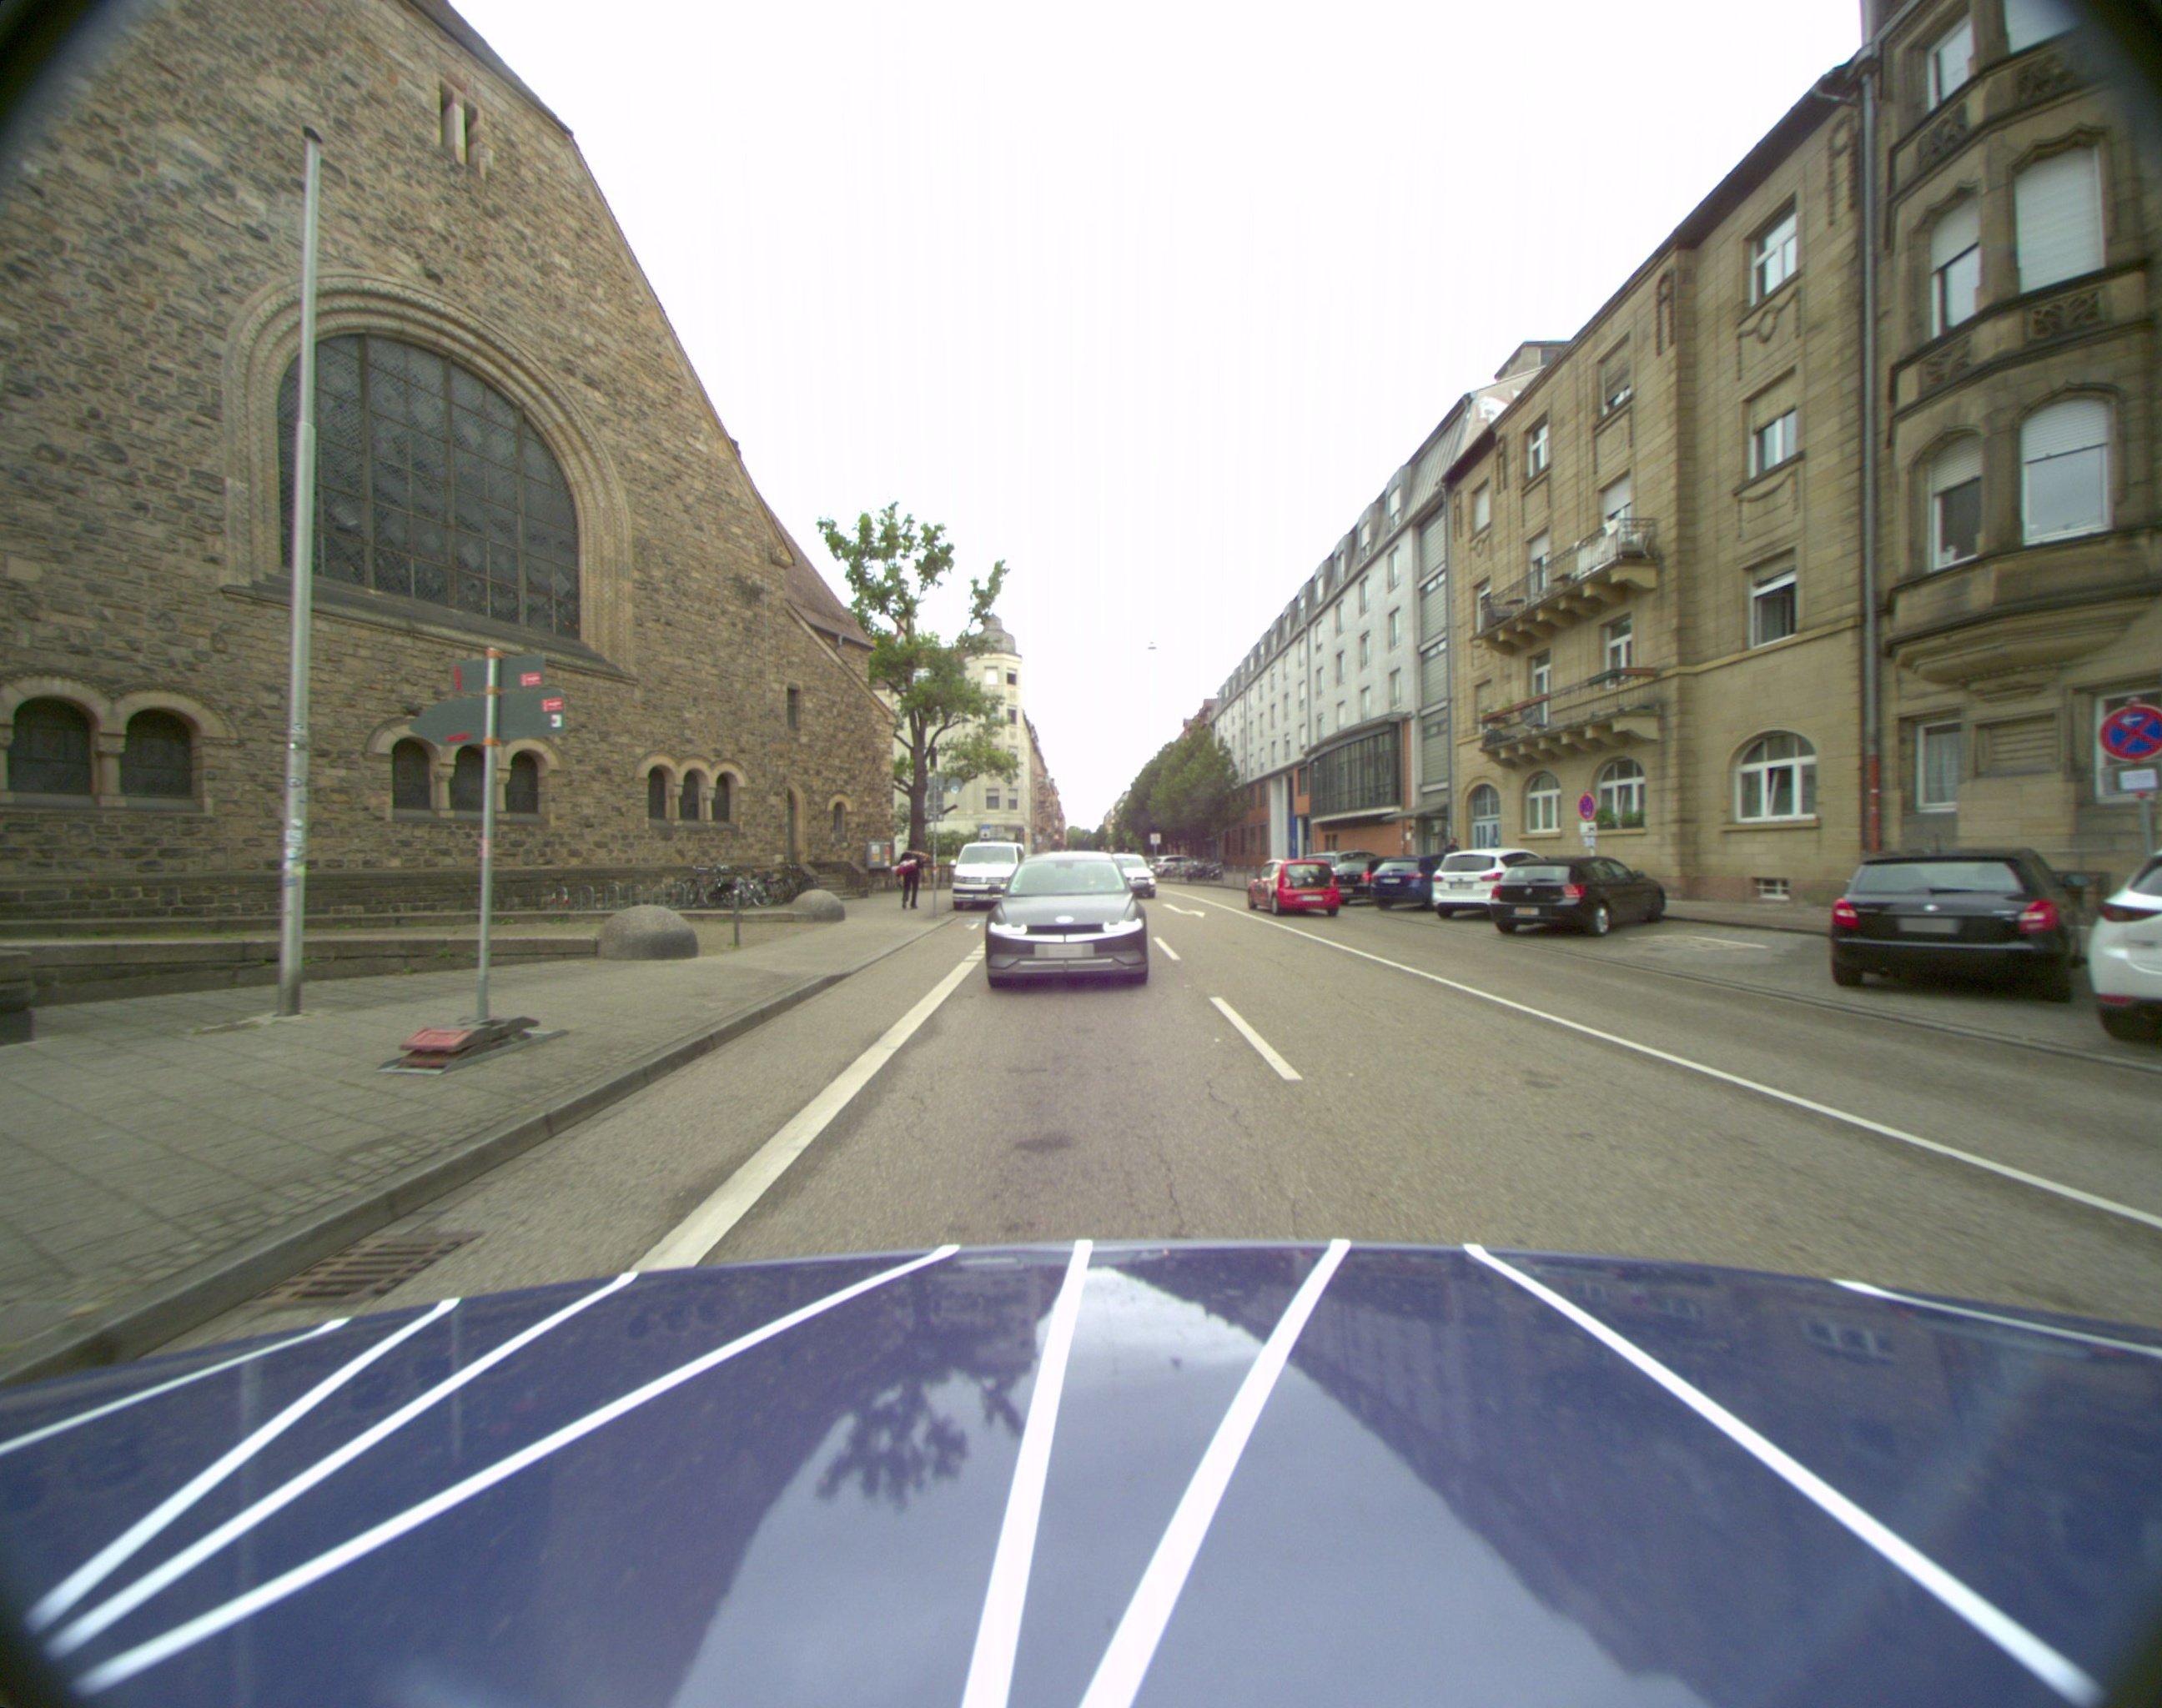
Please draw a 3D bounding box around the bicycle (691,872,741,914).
[{"bbox_3d":[-9.427,0.990,19.596,1.380,1.054,0.311,0,1,23],"label":"bicycle"}]

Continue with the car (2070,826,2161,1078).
[{"bbox_3d":[9.773,0.610,5.771,4.004,1.714,1.837,-5,2,-24],"label":"car"}]

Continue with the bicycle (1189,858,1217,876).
[{"bbox_3d":[7.671,0.840,47.742,1.630,1.067,0.416,-2,1,-1],"label":"bicycle"}]

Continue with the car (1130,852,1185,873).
[{"bbox_3d":[6.220,0.651,61.973,4.004,1.619,1.996,-1,0,-22],"label":"car"}]

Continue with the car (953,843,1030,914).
[{"bbox_3d":[-2.613,0.662,23.319,1.810,1.908,5.163,-1,0,-1],"label":"car"}]

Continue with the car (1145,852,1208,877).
[{"bbox_3d":[6.713,0.713,53.325,4.004,1.619,1.769,-1,0,-22],"label":"car"}]

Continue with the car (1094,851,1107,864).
[{"bbox_3d":[2.899,0.529,113.113,1.998,1.897,4.000,-1,0,1],"label":"car"}]

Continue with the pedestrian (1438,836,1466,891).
[{"bbox_3d":[12.457,0.327,25.540,0.621,1.812,0.642,-1,1,1],"label":"pedestrian"}]

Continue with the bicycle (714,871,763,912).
[{"bbox_3d":[-9.041,0.989,20.070,1.380,1.054,0.311,0,1,23],"label":"bicycle"}]

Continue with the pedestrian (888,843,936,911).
[{"bbox_3d":[-4.670,0.623,21.046,0.814,1.799,1.021,0,3,22],"label":"pedestrian"}]

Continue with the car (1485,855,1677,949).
[{"bbox_3d":[9.532,0.796,14.390,4.006,1.409,1.657,-3,1,-35],"label":"car"}]

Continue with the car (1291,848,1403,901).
[{"bbox_3d":[9.252,0.678,26.312,4.007,1.545,1.729,-3,1,-39],"label":"car"}]

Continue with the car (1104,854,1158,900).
[{"bbox_3d":[1.842,0.811,28.995,1.910,1.597,4.251,-1,1,2],"label":"car"}]

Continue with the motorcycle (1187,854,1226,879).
[{"bbox_3d":[7.156,0.713,43.373,2.124,1.345,0.599,-2,1,1],"label":"motorcycle"}]

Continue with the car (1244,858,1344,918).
[{"bbox_3d":[5.648,0.855,20.550,1.653,1.438,3.510,-1,0,-2],"label":"car"}]

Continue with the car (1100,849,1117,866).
[{"bbox_3d":[3.105,0.363,85.558,1.698,1.793,4.128,0,0,-2],"label":"car"}]

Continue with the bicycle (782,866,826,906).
[{"bbox_3d":[-8.093,0.913,22.196,1.340,1.140,0.311,0,1,23],"label":"bicycle"}]

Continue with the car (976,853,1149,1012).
[{"bbox_3d":[-0.169,0.833,10.053,1.820,1.675,4.000,-1,0,1],"label":"car"}]

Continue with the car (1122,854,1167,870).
[{"bbox_3d":[6.208,0.776,74.556,4.004,1.488,1.735,-1,0,-22],"label":"car"}]

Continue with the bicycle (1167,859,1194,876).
[{"bbox_3d":[6.387,0.859,48.936,1.630,1.067,0.416,-2,1,-1],"label":"bicycle"}]

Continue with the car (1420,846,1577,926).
[{"bbox_3d":[9.859,0.683,17.848,4.007,1.545,1.699,-3,1,-37],"label":"car"}]

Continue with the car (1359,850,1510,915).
[{"bbox_3d":[9.598,0.735,20.591,3.754,1.437,1.820,-3,0,-30],"label":"car"}]

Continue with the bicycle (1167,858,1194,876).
[{"bbox_3d":[6.468,0.848,49.444,1.630,1.067,0.416,-2,1,-1],"label":"bicycle"}]

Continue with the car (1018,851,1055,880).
[{"bbox_3d":[-2.473,0.613,42.908,1.820,1.556,4.000,-1,0,1],"label":"car"}]

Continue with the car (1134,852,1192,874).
[{"bbox_3d":[6.407,0.673,59.203,4.004,1.619,1.996,-1,0,-22],"label":"car"}]

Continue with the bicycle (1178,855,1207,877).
[{"bbox_3d":[6.630,0.723,45.348,1.630,1.282,0.416,-2,1,-1],"label":"bicycle"}]

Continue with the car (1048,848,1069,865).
[{"bbox_3d":[-2.203,0.224,75.393,1.820,1.556,4.000,-1,0,1],"label":"car"}]

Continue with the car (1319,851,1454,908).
[{"bbox_3d":[9.369,0.749,23.264,4.006,1.430,1.729,-3,0,-31],"label":"car"}]

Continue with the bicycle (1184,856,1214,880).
[{"bbox_3d":[6.861,0.803,44.357,1.630,1.345,0.416,-2,1,-1],"label":"bicycle"}]

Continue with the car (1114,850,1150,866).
[{"bbox_3d":[6.290,0.450,94.217,4.004,1.897,1.996,-1,0,-22],"label":"car"}]

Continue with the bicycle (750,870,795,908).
[{"bbox_3d":[-8.713,0.973,21.436,1.340,1.054,0.311,0,1,23],"label":"bicycle"}]

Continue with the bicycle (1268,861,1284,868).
[{"bbox_3d":[13.594,0.752,52.976,1.010,0.434,0.527,-1,2,2],"label":"bicycle"}]

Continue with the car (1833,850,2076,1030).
[{"bbox_3d":[10.001,0.777,8.640,3.819,1.489,1.565,-3,2,-38],"label":"car"}]

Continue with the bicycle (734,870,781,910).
[{"bbox_3d":[-8.859,0.980,20.808,1.380,1.054,0.311,0,1,23],"label":"bicycle"}]
